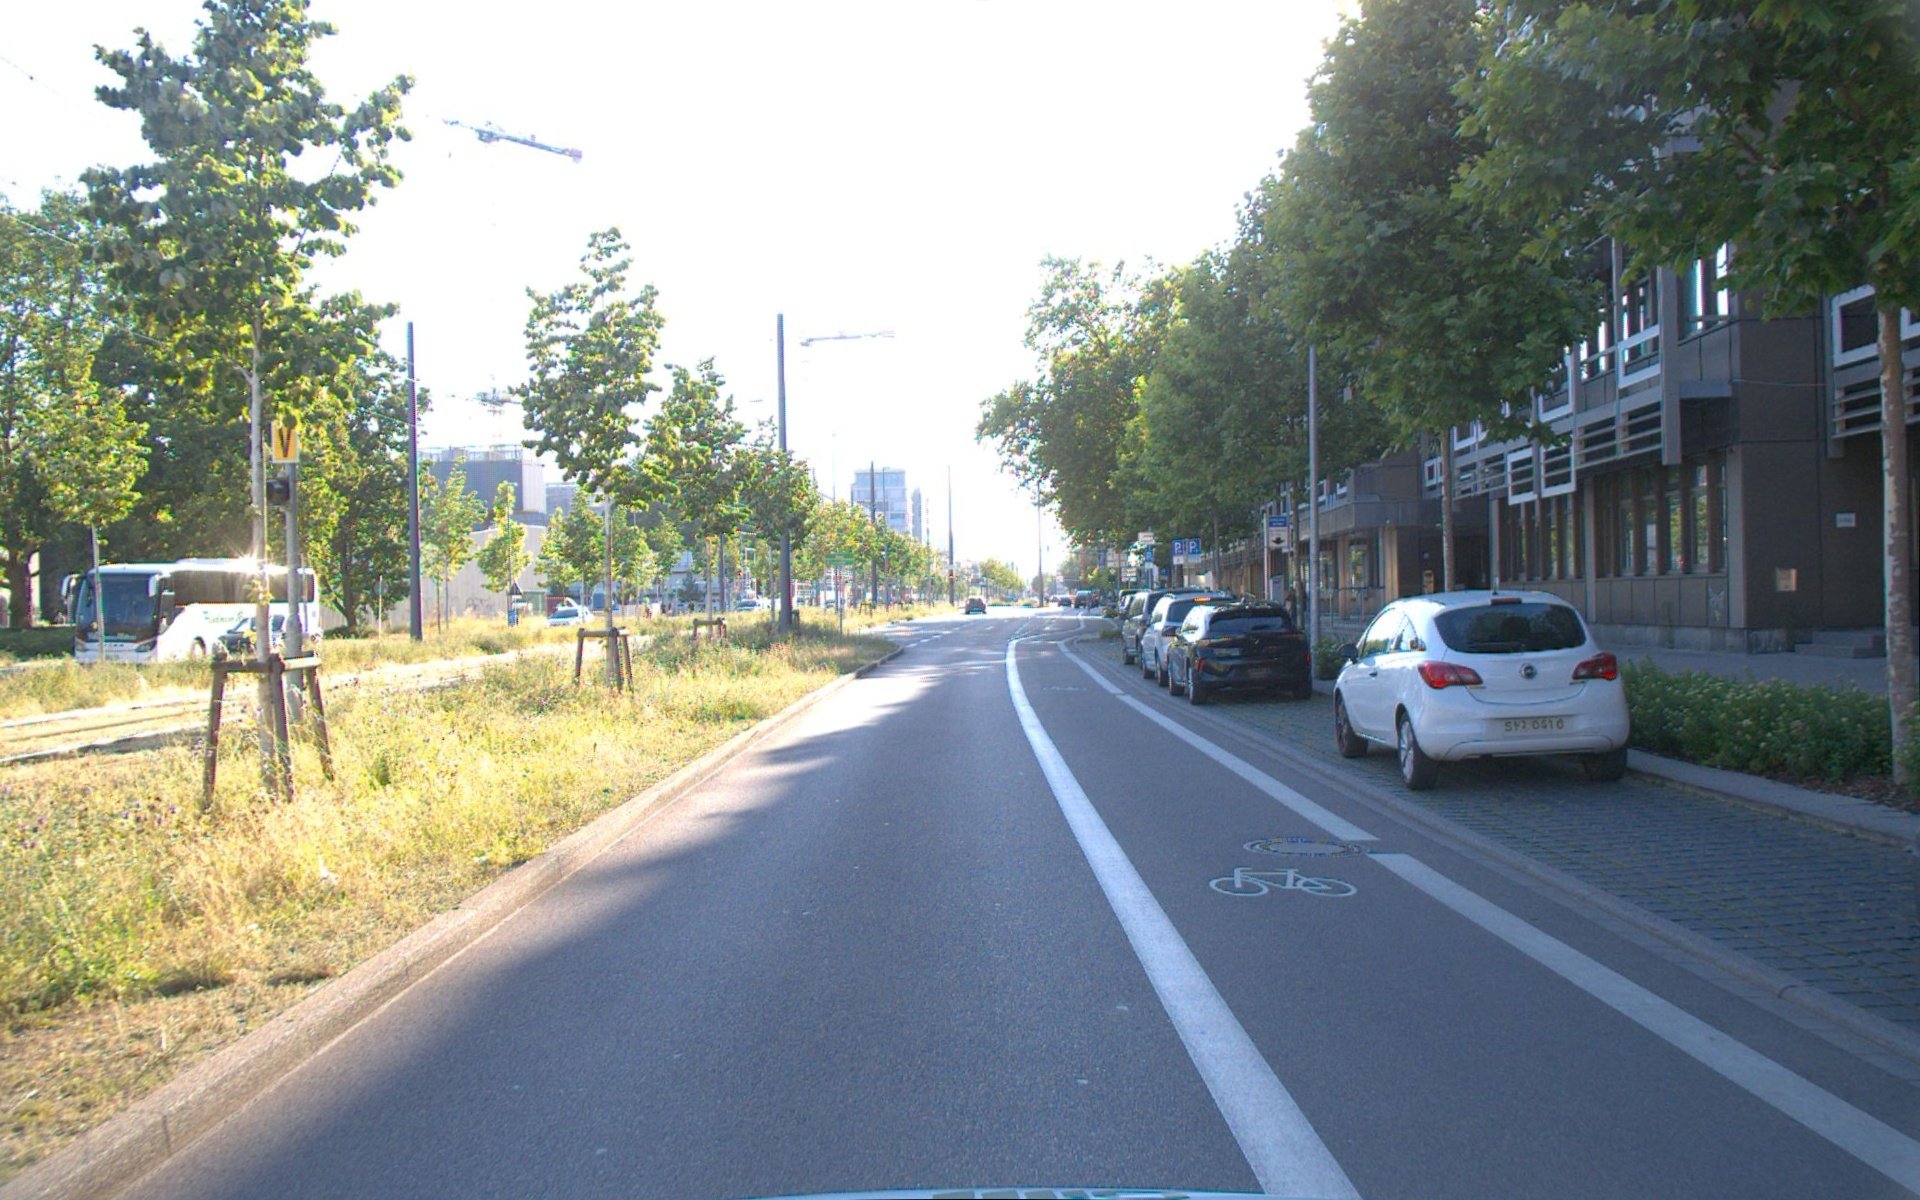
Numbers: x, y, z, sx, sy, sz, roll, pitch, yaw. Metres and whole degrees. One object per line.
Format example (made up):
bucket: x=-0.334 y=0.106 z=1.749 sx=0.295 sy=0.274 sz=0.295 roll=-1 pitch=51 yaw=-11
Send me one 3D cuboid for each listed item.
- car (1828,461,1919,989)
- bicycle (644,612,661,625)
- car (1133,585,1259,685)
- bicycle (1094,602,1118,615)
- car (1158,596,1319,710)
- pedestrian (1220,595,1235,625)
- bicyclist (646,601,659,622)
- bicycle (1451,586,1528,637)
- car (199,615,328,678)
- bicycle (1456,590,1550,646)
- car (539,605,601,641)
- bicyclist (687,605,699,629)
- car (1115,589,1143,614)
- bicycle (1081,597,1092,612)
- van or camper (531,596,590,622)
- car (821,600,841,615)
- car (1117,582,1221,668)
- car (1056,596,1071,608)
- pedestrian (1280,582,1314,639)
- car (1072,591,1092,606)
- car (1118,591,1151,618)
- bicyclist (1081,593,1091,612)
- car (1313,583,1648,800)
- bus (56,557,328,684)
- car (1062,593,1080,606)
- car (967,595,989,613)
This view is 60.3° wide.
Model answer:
car: x=4.401 y=0.428 z=4.410 sx=1.700 sy=1.952 sz=4.392 roll=-3 pitch=0 yaw=-1
bicycle: x=-20.719 y=1.236 z=111.581 sx=0.673 sy=0.818 sz=2.145 roll=-1 pitch=0 yaw=2
car: x=4.342 y=0.594 z=30.988 sx=1.693 sy=1.650 sz=4.216 roll=-3 pitch=0 yaw=0
bicycle: x=10.968 y=0.651 z=124.353 sx=1.656 sy=0.882 sz=0.573 roll=-3 pitch=0 yaw=12
car: x=4.157 y=0.732 z=25.331 sx=1.757 sy=1.474 sz=4.377 roll=-3 pitch=0 yaw=1
pedestrian: x=17.360 y=0.643 z=107.420 sx=0.814 sy=1.888 sz=0.847 roll=-1 pitch=0 yaw=3
bicyclist: x=-20.716 y=0.764 z=111.533 sx=0.673 sy=1.370 sz=0.871 roll=-1 pitch=0 yaw=1
bicycle: x=12.160 y=0.267 z=38.014 sx=1.593 sy=1.101 sz=0.392 roll=-2 pitch=0 yaw=3
car: x=-20.464 y=1.322 z=48.782 sx=1.953 sy=1.680 sz=4.271 roll=-1 pitch=0 yaw=0
bicycle: x=11.711 y=0.394 z=35.678 sx=1.862 sy=1.112 sz=0.392 roll=-3 pitch=0 yaw=-4
car: x=-19.424 y=1.108 z=82.521 sx=1.953 sy=1.671 sz=4.168 roll=-1 pitch=0 yaw=1
bicyclist: x=-20.033 y=1.278 z=124.109 sx=0.673 sy=1.738 sz=0.954 roll=-1 pitch=0 yaw=3
car: x=11.226 y=0.084 z=109.709 sx=1.646 sy=1.540 sz=5.063 roll=-4 pitch=0 yaw=8
bicycle: x=11.146 y=0.386 z=145.329 sx=0.782 sy=1.225 sz=2.266 roll=-1 pitch=0 yaw=8
van or camper: x=-41.761 y=0.939 z=172.831 sx=5.541 sy=2.456 sz=2.156 roll=-1 pitch=0 yaw=5
car: x=-15.882 y=0.887 z=203.660 sx=1.952 sy=1.807 sz=4.002 roll=-1 pitch=0 yaw=3
car: x=4.597 y=0.512 z=36.926 sx=1.693 sy=1.717 sz=4.514 roll=-3 pitch=0 yaw=0
car: x=13.672 y=0.231 z=218.785 sx=1.722 sy=1.510 sz=3.851 roll=-1 pitch=0 yaw=2
pedestrian: x=10.199 y=0.325 z=50.104 sx=0.773 sy=1.677 sz=1.137 roll=-2 pitch=0 yaw=2
car: x=12.676 y=-0.161 z=171.754 sx=1.900 sy=1.453 sz=3.926 roll=-1 pitch=0 yaw=2
car: x=10.322 y=0.266 z=97.980 sx=1.671 sy=1.443 sz=4.278 roll=-4 pitch=0 yaw=4
bicyclist: x=11.076 y=0.203 z=145.031 sx=0.784 sy=1.630 sz=0.785 roll=-1 pitch=0 yaw=-1
car: x=4.303 y=0.661 z=14.356 sx=1.629 sy=1.515 sz=4.205 roll=-3 pitch=0 yaw=2
bus: x=-24.960 y=0.577 z=54.867 sx=2.741 sy=3.657 sz=12.701 roll=-1 pitch=0 yaw=2
car: x=12.767 y=-0.077 z=190.191 sx=1.900 sy=1.510 sz=3.926 roll=-1 pitch=0 yaw=2
car: x=1.497 y=0.351 z=138.960 sx=1.740 sy=1.453 sz=4.001 roll=0 pitch=0 yaw=2
